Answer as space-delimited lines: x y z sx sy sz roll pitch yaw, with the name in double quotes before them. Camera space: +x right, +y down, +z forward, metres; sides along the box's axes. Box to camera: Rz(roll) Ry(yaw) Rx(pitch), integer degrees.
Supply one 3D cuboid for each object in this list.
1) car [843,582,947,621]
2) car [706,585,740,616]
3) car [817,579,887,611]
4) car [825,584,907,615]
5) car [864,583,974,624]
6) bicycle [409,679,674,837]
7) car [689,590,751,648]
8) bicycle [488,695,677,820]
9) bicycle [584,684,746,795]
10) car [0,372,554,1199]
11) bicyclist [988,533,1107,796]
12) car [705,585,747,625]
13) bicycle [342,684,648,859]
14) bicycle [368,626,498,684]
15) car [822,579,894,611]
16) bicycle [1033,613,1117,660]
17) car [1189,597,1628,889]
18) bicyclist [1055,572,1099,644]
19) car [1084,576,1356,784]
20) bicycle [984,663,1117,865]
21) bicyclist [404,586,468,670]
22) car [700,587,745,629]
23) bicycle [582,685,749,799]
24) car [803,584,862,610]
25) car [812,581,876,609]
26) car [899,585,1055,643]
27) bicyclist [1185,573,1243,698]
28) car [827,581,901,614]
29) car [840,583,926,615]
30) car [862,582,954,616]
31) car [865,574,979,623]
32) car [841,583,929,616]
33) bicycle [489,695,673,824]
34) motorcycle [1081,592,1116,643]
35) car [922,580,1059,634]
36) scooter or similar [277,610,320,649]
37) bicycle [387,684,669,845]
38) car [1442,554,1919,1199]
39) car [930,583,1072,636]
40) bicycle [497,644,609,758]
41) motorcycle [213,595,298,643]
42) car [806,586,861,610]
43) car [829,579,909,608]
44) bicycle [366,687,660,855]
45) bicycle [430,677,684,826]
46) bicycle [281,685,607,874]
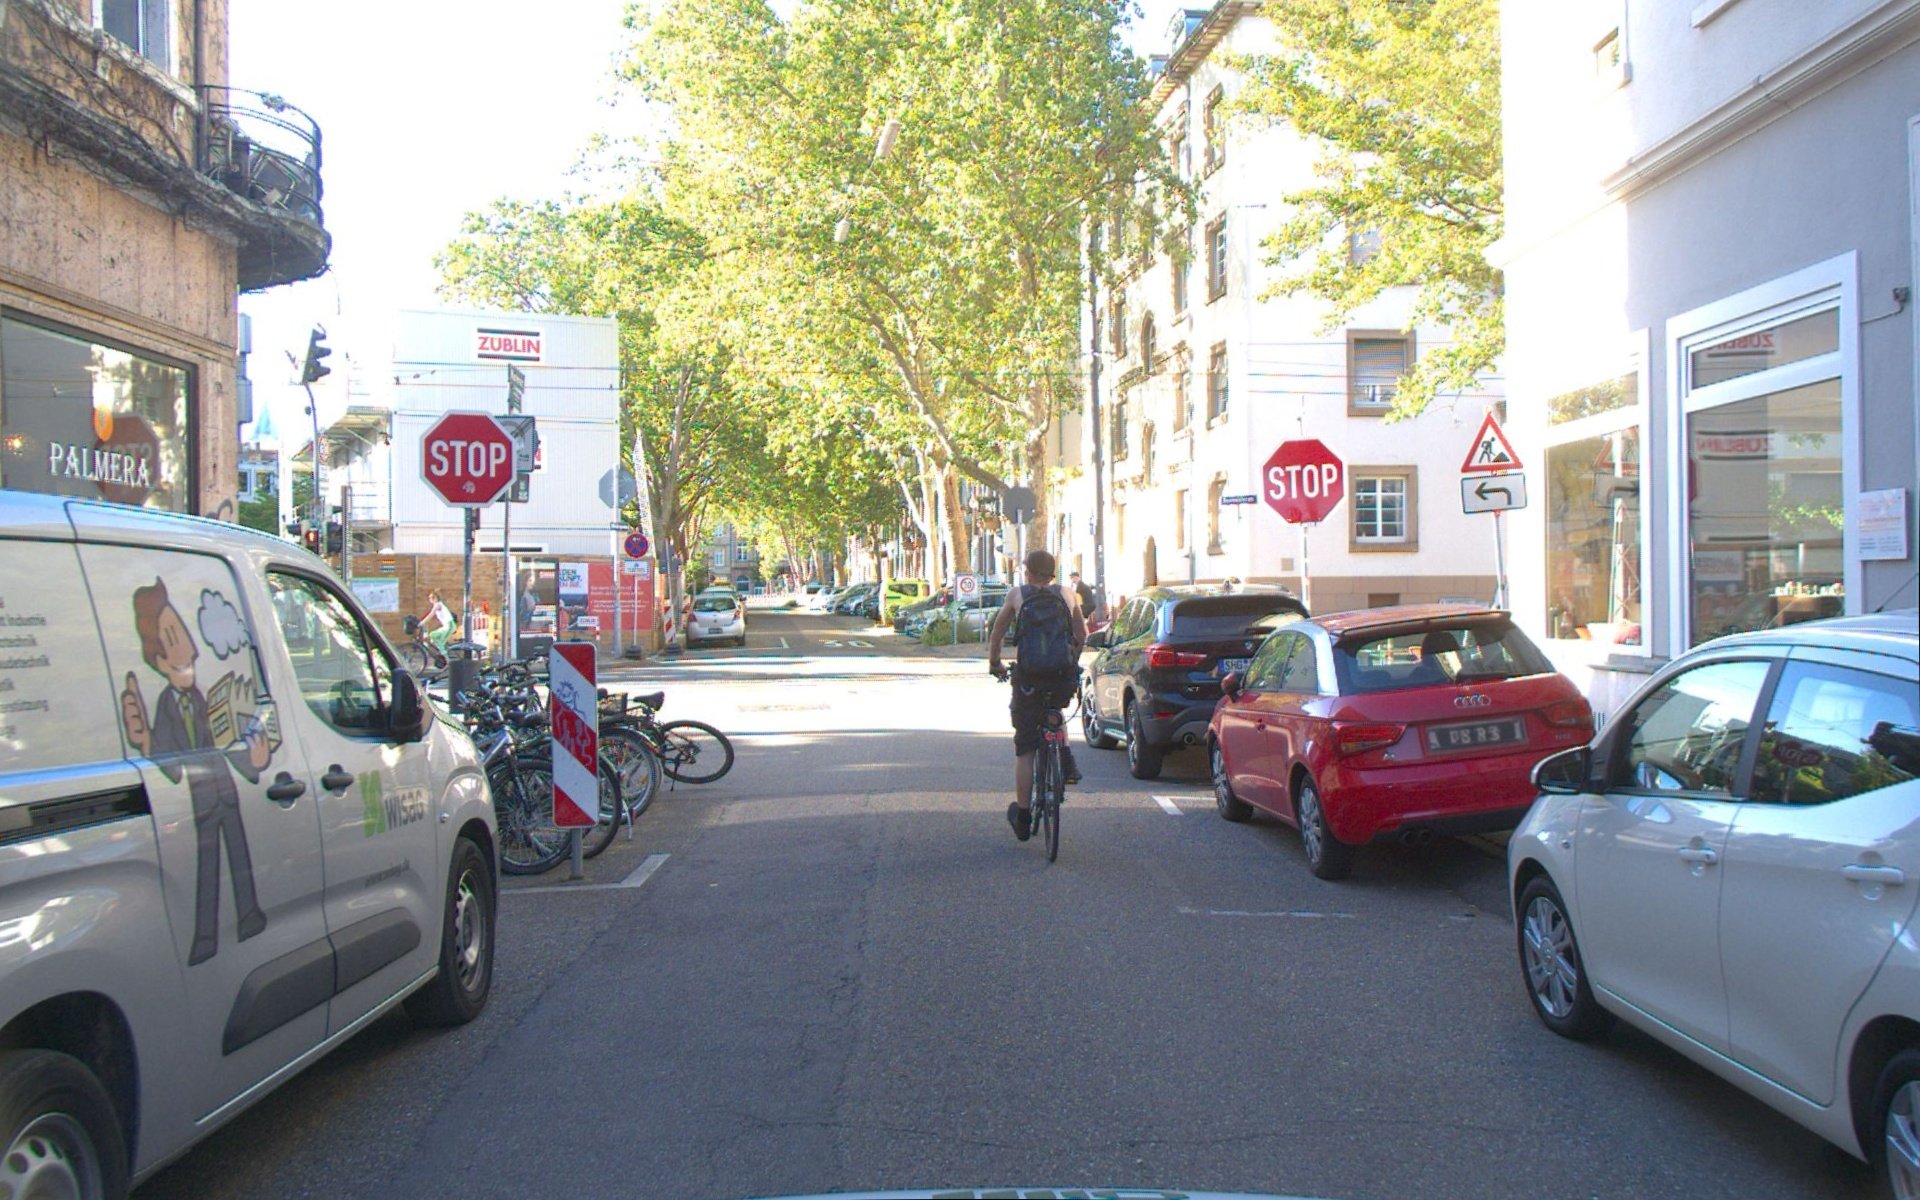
"car" -2.866 0.052 72.477 4.379 1.598 1.725 -1 0 -9
"car" -12.432 0.003 86.673 1.635 1.590 4.606 -1 1 -9
"car" -7.039 -0.335 107.247 4.379 1.931 1.725 -1 0 -9
"car" -5.260 -0.047 92.149 4.379 1.598 1.725 -1 0 -9
"car" -1.728 0.131 68.668 4.379 1.598 1.725 -1 0 -9
"bicycle" -2.891 1.081 11.511 1.734 0.978 0.480 -1 0 -14
"car" -7.031 0.530 48.236 1.614 1.520 3.991 -3 1 -9
"bicycle" -2.904 1.204 12.786 1.362 0.832 0.361 -3 1 -11
"bicycle" -2.425 1.142 13.638 1.285 0.832 0.370 -1 0 -11
"car" -2.524 0.605 4.537 1.645 1.943 4.518 -4 0 -1
"bicyclist" 0.522 0.379 10.073 0.662 1.539 0.668 1 0 -1
"car" -9.933 0.189 70.141 1.635 1.590 4.509 -1 1 -9
"bicycle" -2.811 1.031 10.080 1.729 0.978 0.405 -1 0 -3
"bicycle" -10.689 1.102 33.600 2.377 1.112 0.894 -1 -1 -8
"car" -6.472 -0.328 104.489 4.379 1.931 1.725 -1 0 -9
"bicycle" 2.728 0.845 39.111 1.892 1.036 0.677 -1 0 -26
"car" 2.661 0.758 10.748 1.612 1.529 3.953 1 0 -3
"bicyclist" 2.760 0.187 39.125 0.799 1.687 0.677 -1 0 -26
"car" 2.296 0.649 15.674 1.725 1.691 4.195 1 0 -3
"bicycle" 0.515 0.948 10.145 0.675 1.034 1.907 1 0 -1
"bicyclist" -10.635 0.575 33.615 1.076 1.668 0.894 -1 -1 -8
"car" -9.272 0.286 64.481 1.635 1.590 3.991 -1 1 -9
"bicycle" -2.354 1.128 13.266 1.285 0.832 0.354 -1 0 -11
"car" -9.851 -0.259 127.495 4.379 1.931 1.725 -1 0 -9
"car" -8.256 -0.365 117.151 4.379 1.931 1.725 -1 0 -9
"car" 0.490 0.385 48.828 4.379 1.598 1.725 -1 0 -9
"bicyclist" 3.537 0.485 23.010 0.534 1.717 0.649 -1 -1 41
"car" -5.924 -0.182 101.776 4.379 1.931 1.725 -1 0 -9
"car" -4.086 -0.046 87.510 4.379 1.598 1.725 -1 0 -9
"car" -2.607 -0.066 81.997 4.379 1.598 1.725 -1 0 -9
"car" -1.550 -0.083 66.660 4.380 1.868 1.724 -1 0 -10
"car" -3.881 -0.046 85.043 4.379 1.598 1.725 -1 0 -9
"bicycle" -2.831 1.187 12.419 1.285 0.832 0.380 -3 1 -11
"motorcycle" 3.769 0.470 45.115 0.504 1.356 1.759 -1 1 -10
"car" 1.021 0.217 55.879 4.379 1.700 1.725 -1 0 -9
"scooter or similar" -18.790 0.830 47.007 0.376 1.038 1.489 0 1 10
"bicycle" -2.834 1.075 10.931 1.729 0.978 0.443 -1 0 -3
"car" 2.886 0.704 4.992 1.603 1.614 3.786 1 0 -3
"car" 1.310 0.295 53.816 4.379 1.598 1.725 -1 0 -9
"bicycle" -4.349 1.049 17.601 0.454 1.064 1.663 -1 3 -41
"motorcycle" -20.240 0.536 47.540 0.534 1.279 2.197 0 2 44
"car" -10.422 -0.191 136.505 4.379 1.931 1.725 -1 0 -9
"car" -5.205 -0.369 94.496 4.379 1.598 1.725 -1 0 -9
"bicycle" -2.817 1.071 10.498 1.729 0.978 0.422 -1 0 -3
"bicycle" -2.890 1.081 11.955 1.732 0.978 0.427 -1 0 -9
"bicycle" -2.975 1.030 9.626 1.729 1.006 0.463 -1 0 -2
